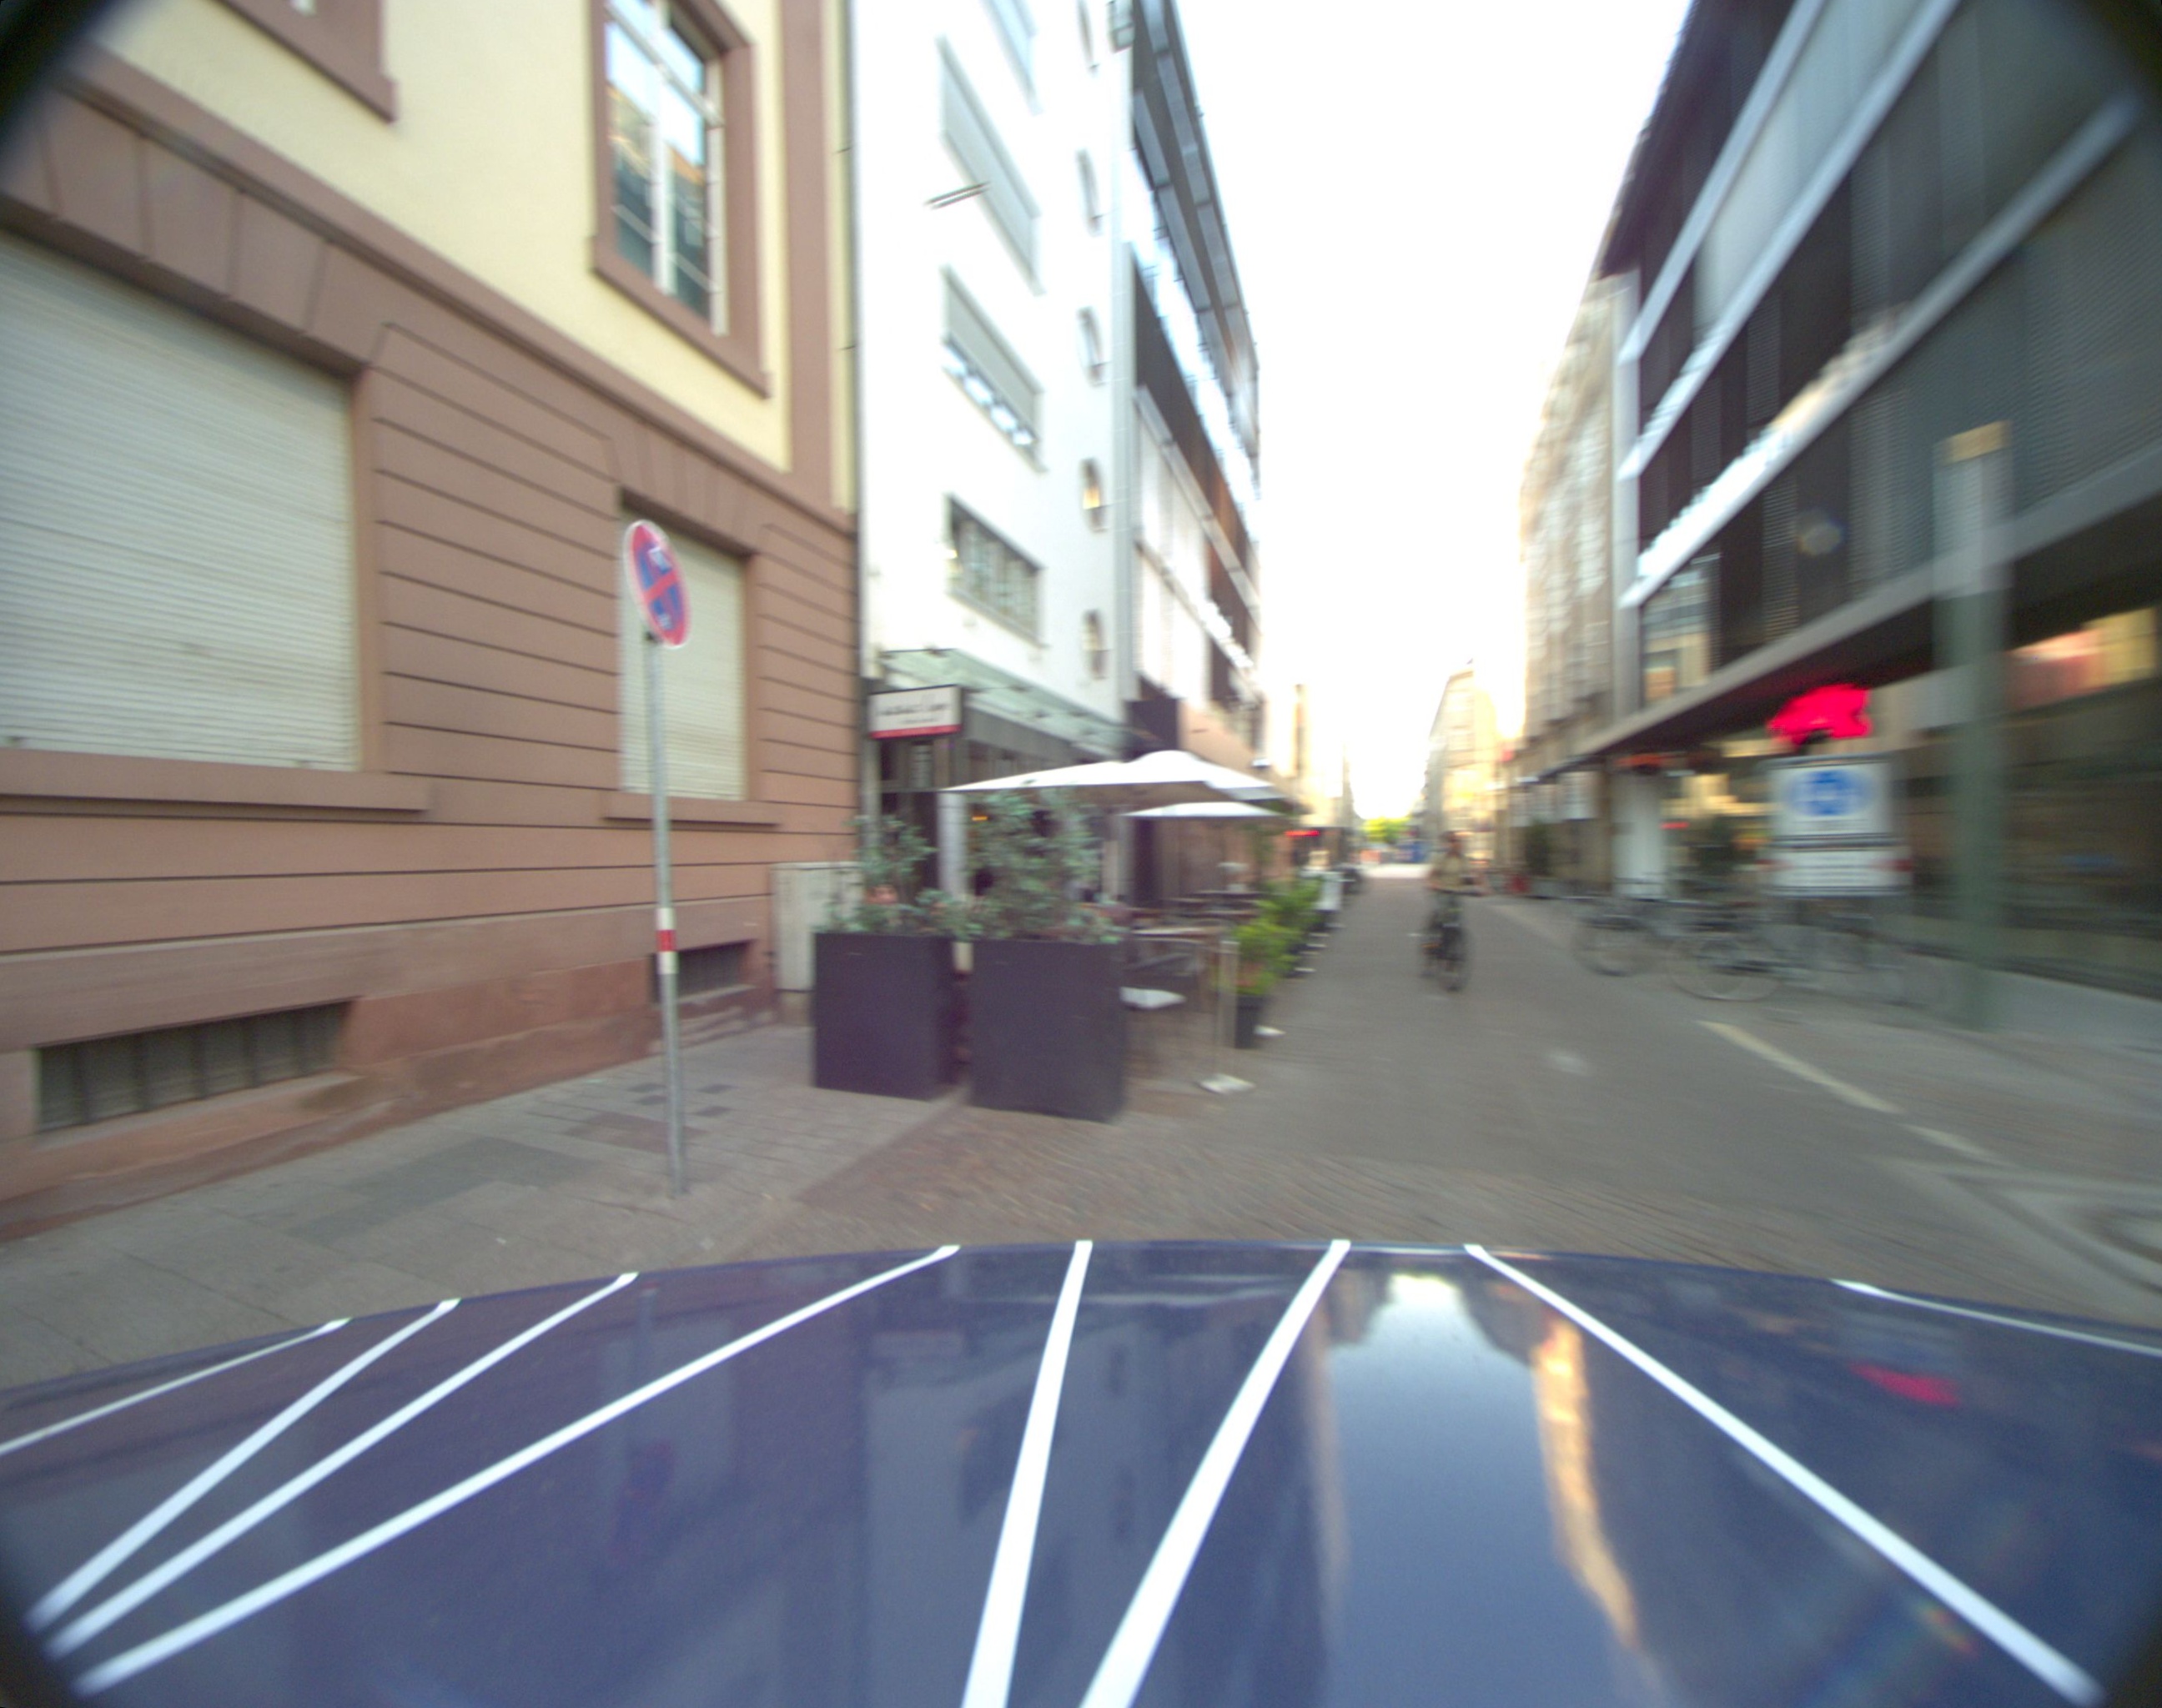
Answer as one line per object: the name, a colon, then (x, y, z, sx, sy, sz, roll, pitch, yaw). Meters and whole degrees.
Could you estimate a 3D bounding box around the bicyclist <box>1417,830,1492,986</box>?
bicyclist: (4.202, 0.577, 8.595, 0.674, 1.660, 0.870, -1, 1, 21)

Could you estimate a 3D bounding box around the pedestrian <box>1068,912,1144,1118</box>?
pedestrian: (0.165, 0.989, 4.803, 0.400, 1.206, 0.383, 0, 1, 13)

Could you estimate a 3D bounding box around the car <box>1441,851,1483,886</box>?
car: (16.921, 0.606, 33.789, 1.600, 1.415, 3.610, 0, 0, 26)

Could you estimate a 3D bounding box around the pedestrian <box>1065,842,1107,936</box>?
pedestrian: (0.107, 0.655, 14.532, 0.639, 1.762, 0.603, 0, 1, 17)

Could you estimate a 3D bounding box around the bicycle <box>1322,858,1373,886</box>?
bicycle: (11.546, 0.788, 32.931, 2.035, 1.161, 0.620, -1, 1, 21)

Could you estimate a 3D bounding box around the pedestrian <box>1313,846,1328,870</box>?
pedestrian: (16.542, 0.279, 52.541, 0.637, 1.612, 0.781, -1, 2, -27)

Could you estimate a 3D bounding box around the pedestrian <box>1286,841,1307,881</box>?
pedestrian: (9.970, 0.328, 35.123, 0.802, 1.825, 0.676, 0, 1, 24)

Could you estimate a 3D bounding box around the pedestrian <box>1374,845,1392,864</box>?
pedestrian: (25.181, 0.076, 63.393, 0.994, 1.563, 0.918, -1, 1, -24)

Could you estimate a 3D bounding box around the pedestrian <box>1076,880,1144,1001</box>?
pedestrian: (0.381, 1.051, 9.617, 0.574, 1.412, 0.869, 0, 1, 23)

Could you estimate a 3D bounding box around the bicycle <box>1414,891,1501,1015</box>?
bicycle: (4.206, 1.038, 8.605, 0.698, 1.121, 2.008, -1, 0, 21)

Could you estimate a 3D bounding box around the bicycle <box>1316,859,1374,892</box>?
bicycle: (10.238, 0.804, 29.445, 2.035, 1.161, 0.620, 3, 2, 21)

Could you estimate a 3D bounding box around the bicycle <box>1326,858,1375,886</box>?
bicycle: (12.040, 0.794, 33.972, 2.035, 1.209, 0.620, -1, 1, 21)

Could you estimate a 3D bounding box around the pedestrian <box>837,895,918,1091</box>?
pedestrian: (-1.431, 0.955, 5.388, 0.362, 1.298, 0.495, -1, 1, 8)

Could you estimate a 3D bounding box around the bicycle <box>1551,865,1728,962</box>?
bicycle: (7.921, 0.862, 10.871, 1.899, 1.262, 0.539, -4, -1, 23)

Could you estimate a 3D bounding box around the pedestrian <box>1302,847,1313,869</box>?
pedestrian: (15.570, 0.289, 52.303, 0.635, 1.516, 0.783, 0, 2, 8)

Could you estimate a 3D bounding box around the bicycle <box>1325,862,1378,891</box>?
bicycle: (11.216, 0.918, 31.499, 2.035, 1.161, 0.620, -1, 1, 21)

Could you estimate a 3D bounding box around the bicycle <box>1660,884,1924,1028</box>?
bicycle: (6.433, 0.907, 6.979, 1.667, 1.197, 0.510, -3, 0, 22)

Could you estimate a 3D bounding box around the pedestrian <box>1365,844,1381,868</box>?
pedestrian: (20.432, 0.146, 53.208, 0.766, 1.628, 0.667, -1, 2, -22)

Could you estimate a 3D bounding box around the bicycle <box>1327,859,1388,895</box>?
bicycle: (10.115, 0.827, 27.803, 2.035, 1.161, 0.667, 2, 2, 21)

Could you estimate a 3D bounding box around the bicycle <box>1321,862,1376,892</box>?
bicycle: (10.734, 0.908, 30.504, 2.035, 1.161, 0.620, -1, 1, 21)

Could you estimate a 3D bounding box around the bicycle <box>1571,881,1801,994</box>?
bicycle: (6.676, 0.927, 8.498, 1.899, 1.174, 0.518, -3, -2, 21)
